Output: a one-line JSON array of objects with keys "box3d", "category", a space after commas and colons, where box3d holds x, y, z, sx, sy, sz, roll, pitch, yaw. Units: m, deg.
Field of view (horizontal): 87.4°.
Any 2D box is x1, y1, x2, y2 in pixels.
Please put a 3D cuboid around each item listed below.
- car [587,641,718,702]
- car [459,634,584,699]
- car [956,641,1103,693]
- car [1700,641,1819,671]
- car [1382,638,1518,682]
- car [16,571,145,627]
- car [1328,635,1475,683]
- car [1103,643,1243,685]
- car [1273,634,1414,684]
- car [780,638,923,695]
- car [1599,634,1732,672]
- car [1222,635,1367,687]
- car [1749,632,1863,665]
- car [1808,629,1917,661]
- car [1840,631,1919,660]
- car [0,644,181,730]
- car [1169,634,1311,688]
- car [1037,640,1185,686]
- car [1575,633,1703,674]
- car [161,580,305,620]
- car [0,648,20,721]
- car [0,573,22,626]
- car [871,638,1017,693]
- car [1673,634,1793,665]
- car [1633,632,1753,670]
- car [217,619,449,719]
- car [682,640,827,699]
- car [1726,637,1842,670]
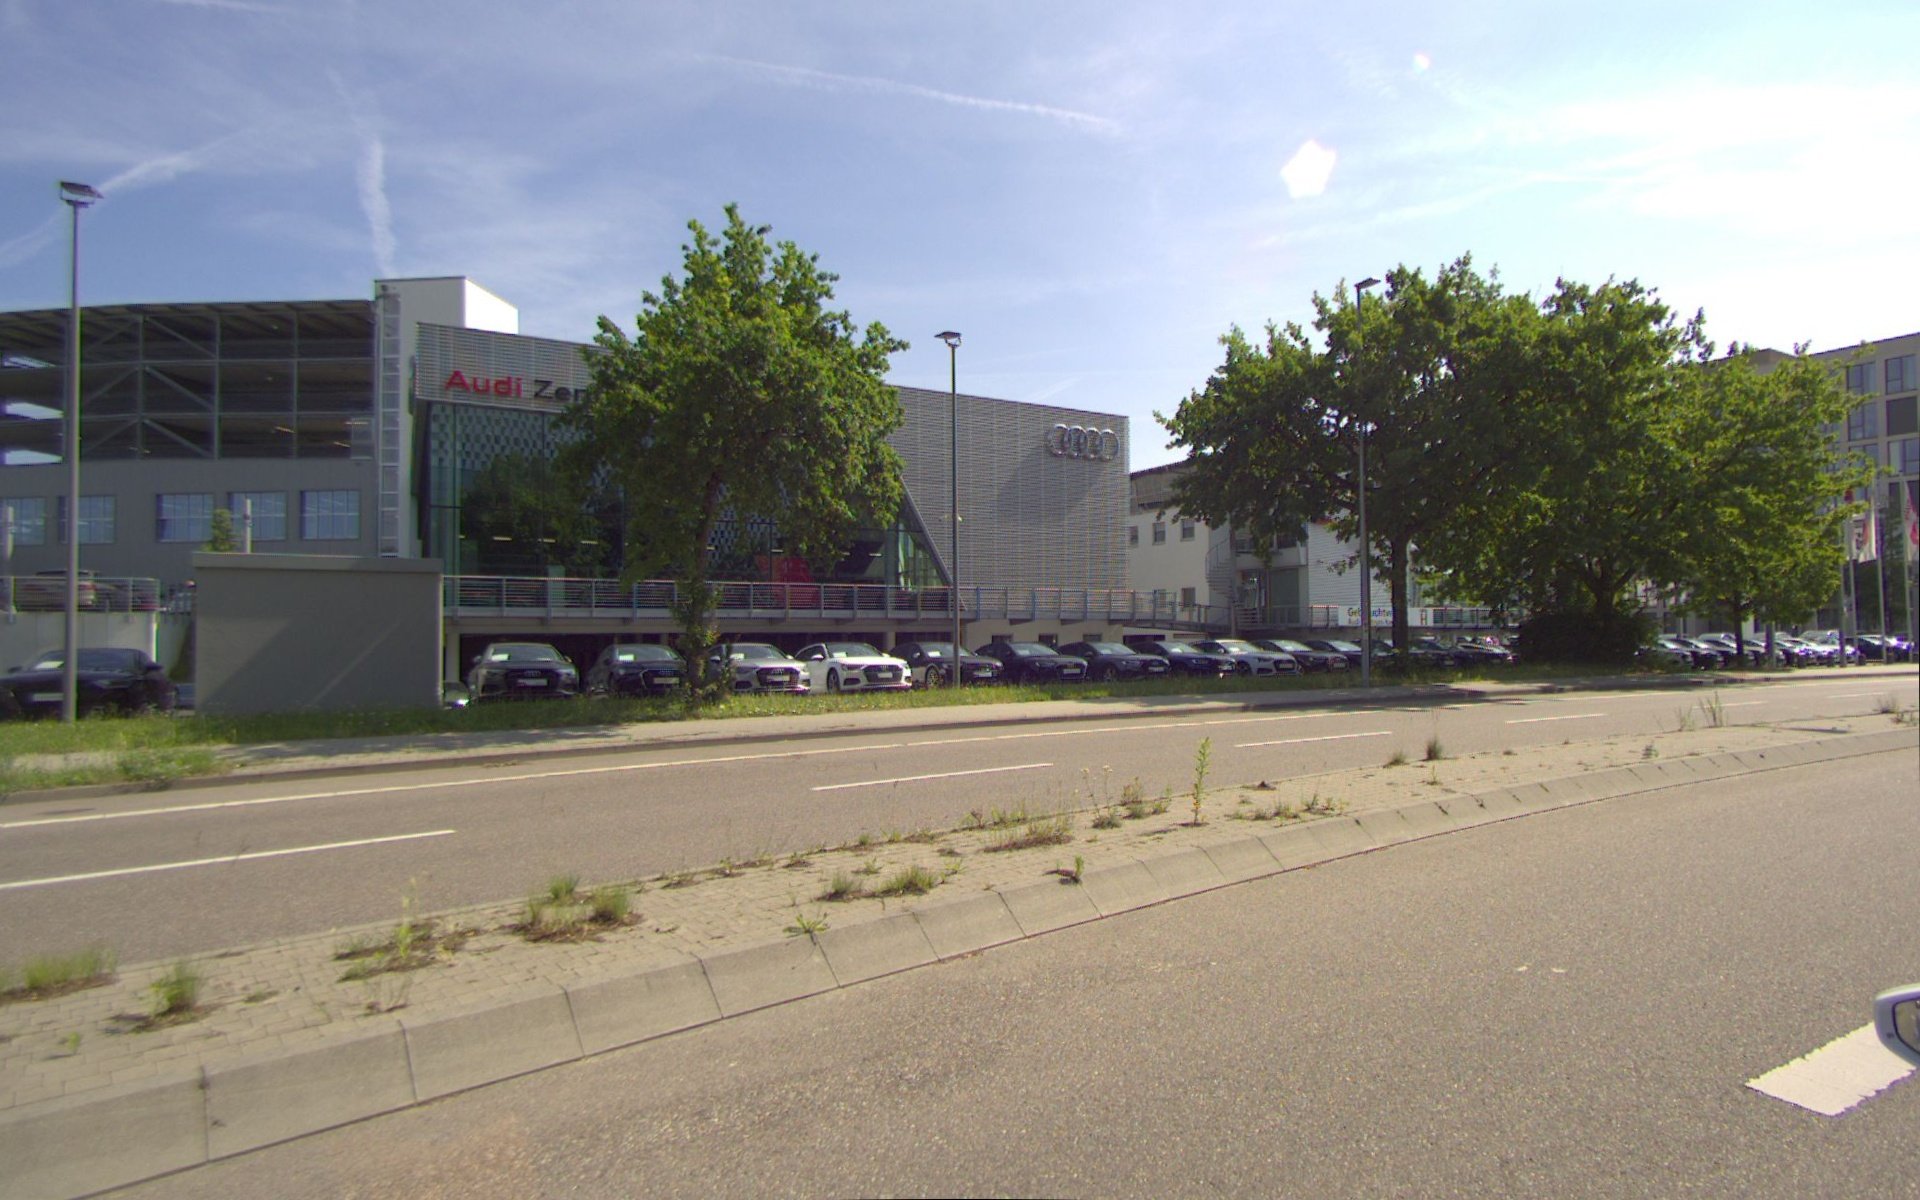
[{"box3d": [-6.900, 1.626, 22.258, 1.876, 1.171, 3.969, 1, -6, -31], "category": "car"}, {"box3d": [-9.227, 1.429, 20.957, 1.876, 1.171, 3.969, 1, -6, -31], "category": "car"}, {"box3d": [1.794, 1.857, 27.259, 1.933, 1.205, 4.155, 1, -6, -31], "category": "car"}, {"box3d": [37.229, 2.639, 46.862, 1.886, 1.181, 3.864, 0, -5, -26], "category": "car"}, {"box3d": [17.675, 2.213, 36.428, 1.976, 1.376, 3.973, 1, -6, -29], "category": "car"}, {"box3d": [-25.809, -0.003, 29.657, 1.962, 1.515, 4.499, 1, -1, -30], "category": "car"}, {"box3d": [15.381, 2.091, 35.219, 2.027, 1.460, 4.288, 1, -6, -30], "category": "car"}, {"box3d": [6.198, 1.928, 29.699, 1.678, 1.047, 4.089, 1, -6, -31], "category": "car"}, {"box3d": [12.886, 2.016, 33.984, 1.976, 1.460, 4.125, 1, -6, -29], "category": "car"}, {"box3d": [-2.772, 1.685, 24.769, 1.933, 1.205, 4.155, 1, -6, -31], "category": "car"}, {"box3d": [29.977, 2.277, 42.804, 2.010, 1.348, 4.156, 0, -5, -26], "category": "car"}, {"box3d": [10.765, 2.008, 32.651, 1.976, 1.460, 4.233, 1, -6, -29], "category": "car"}, {"box3d": [41.784, 2.434, 49.693, 1.725, 1.382, 3.864, 0, -5, -26], "category": "car"}, {"box3d": [48.343, 2.442, 53.867, 1.844, 1.483, 3.862, 0, -5, -28], "category": "car"}, {"box3d": [50.724, 2.470, 54.897, 1.620, 1.375, 3.581, 0, -5, -28], "category": "car"}, {"box3d": [-15.286, 1.437, 17.713, 1.898, 1.307, 4.477, 1, -3, -31], "category": "car"}, {"box3d": [8.543, 1.910, 31.024, 1.976, 1.460, 3.973, 1, -6, -29], "category": "car"}, {"box3d": [4.202, 1.829, 28.589, 1.933, 1.091, 4.155, 1, -6, -31], "category": "car"}, {"box3d": [27.756, 2.219, 41.199, 1.886, 1.437, 3.864, 0, -5, -26], "category": "car"}, {"box3d": [-28.909, 0.027, 40.151, 1.885, 1.483, 4.668, 0, -1, 9], "category": "car"}, {"box3d": [-17.462, 1.454, 16.528, 1.981, 1.307, 4.477, 1, -3, -31], "category": "car"}, {"box3d": [-28.219, -0.016, 28.337, 1.648, 1.515, 3.969, 1, -1, -30], "category": "car"}, {"box3d": [-0.509, 1.725, 26.008, 1.933, 1.205, 4.155, 1, -6, -31], "category": "car"}, {"box3d": [34.762, 2.260, 45.257, 1.771, 1.167, 3.864, 0, -5, -26], "category": "car"}, {"box3d": [31.954, 2.238, 43.882, 1.638, 1.437, 3.864, 0, -5, -26], "category": "car"}, {"box3d": [-12.986, 1.379, 21.080, 3.953, 1.901, 1.984, 1, -2, -31], "category": "car"}, {"box3d": [-4.918, 1.662, 23.580, 2.063, 1.171, 4.155, 1, -6, -31], "category": "car"}, {"box3d": [39.550, 2.587, 48.298, 1.824, 1.350, 3.864, 0, -5, -26], "category": "car"}]
